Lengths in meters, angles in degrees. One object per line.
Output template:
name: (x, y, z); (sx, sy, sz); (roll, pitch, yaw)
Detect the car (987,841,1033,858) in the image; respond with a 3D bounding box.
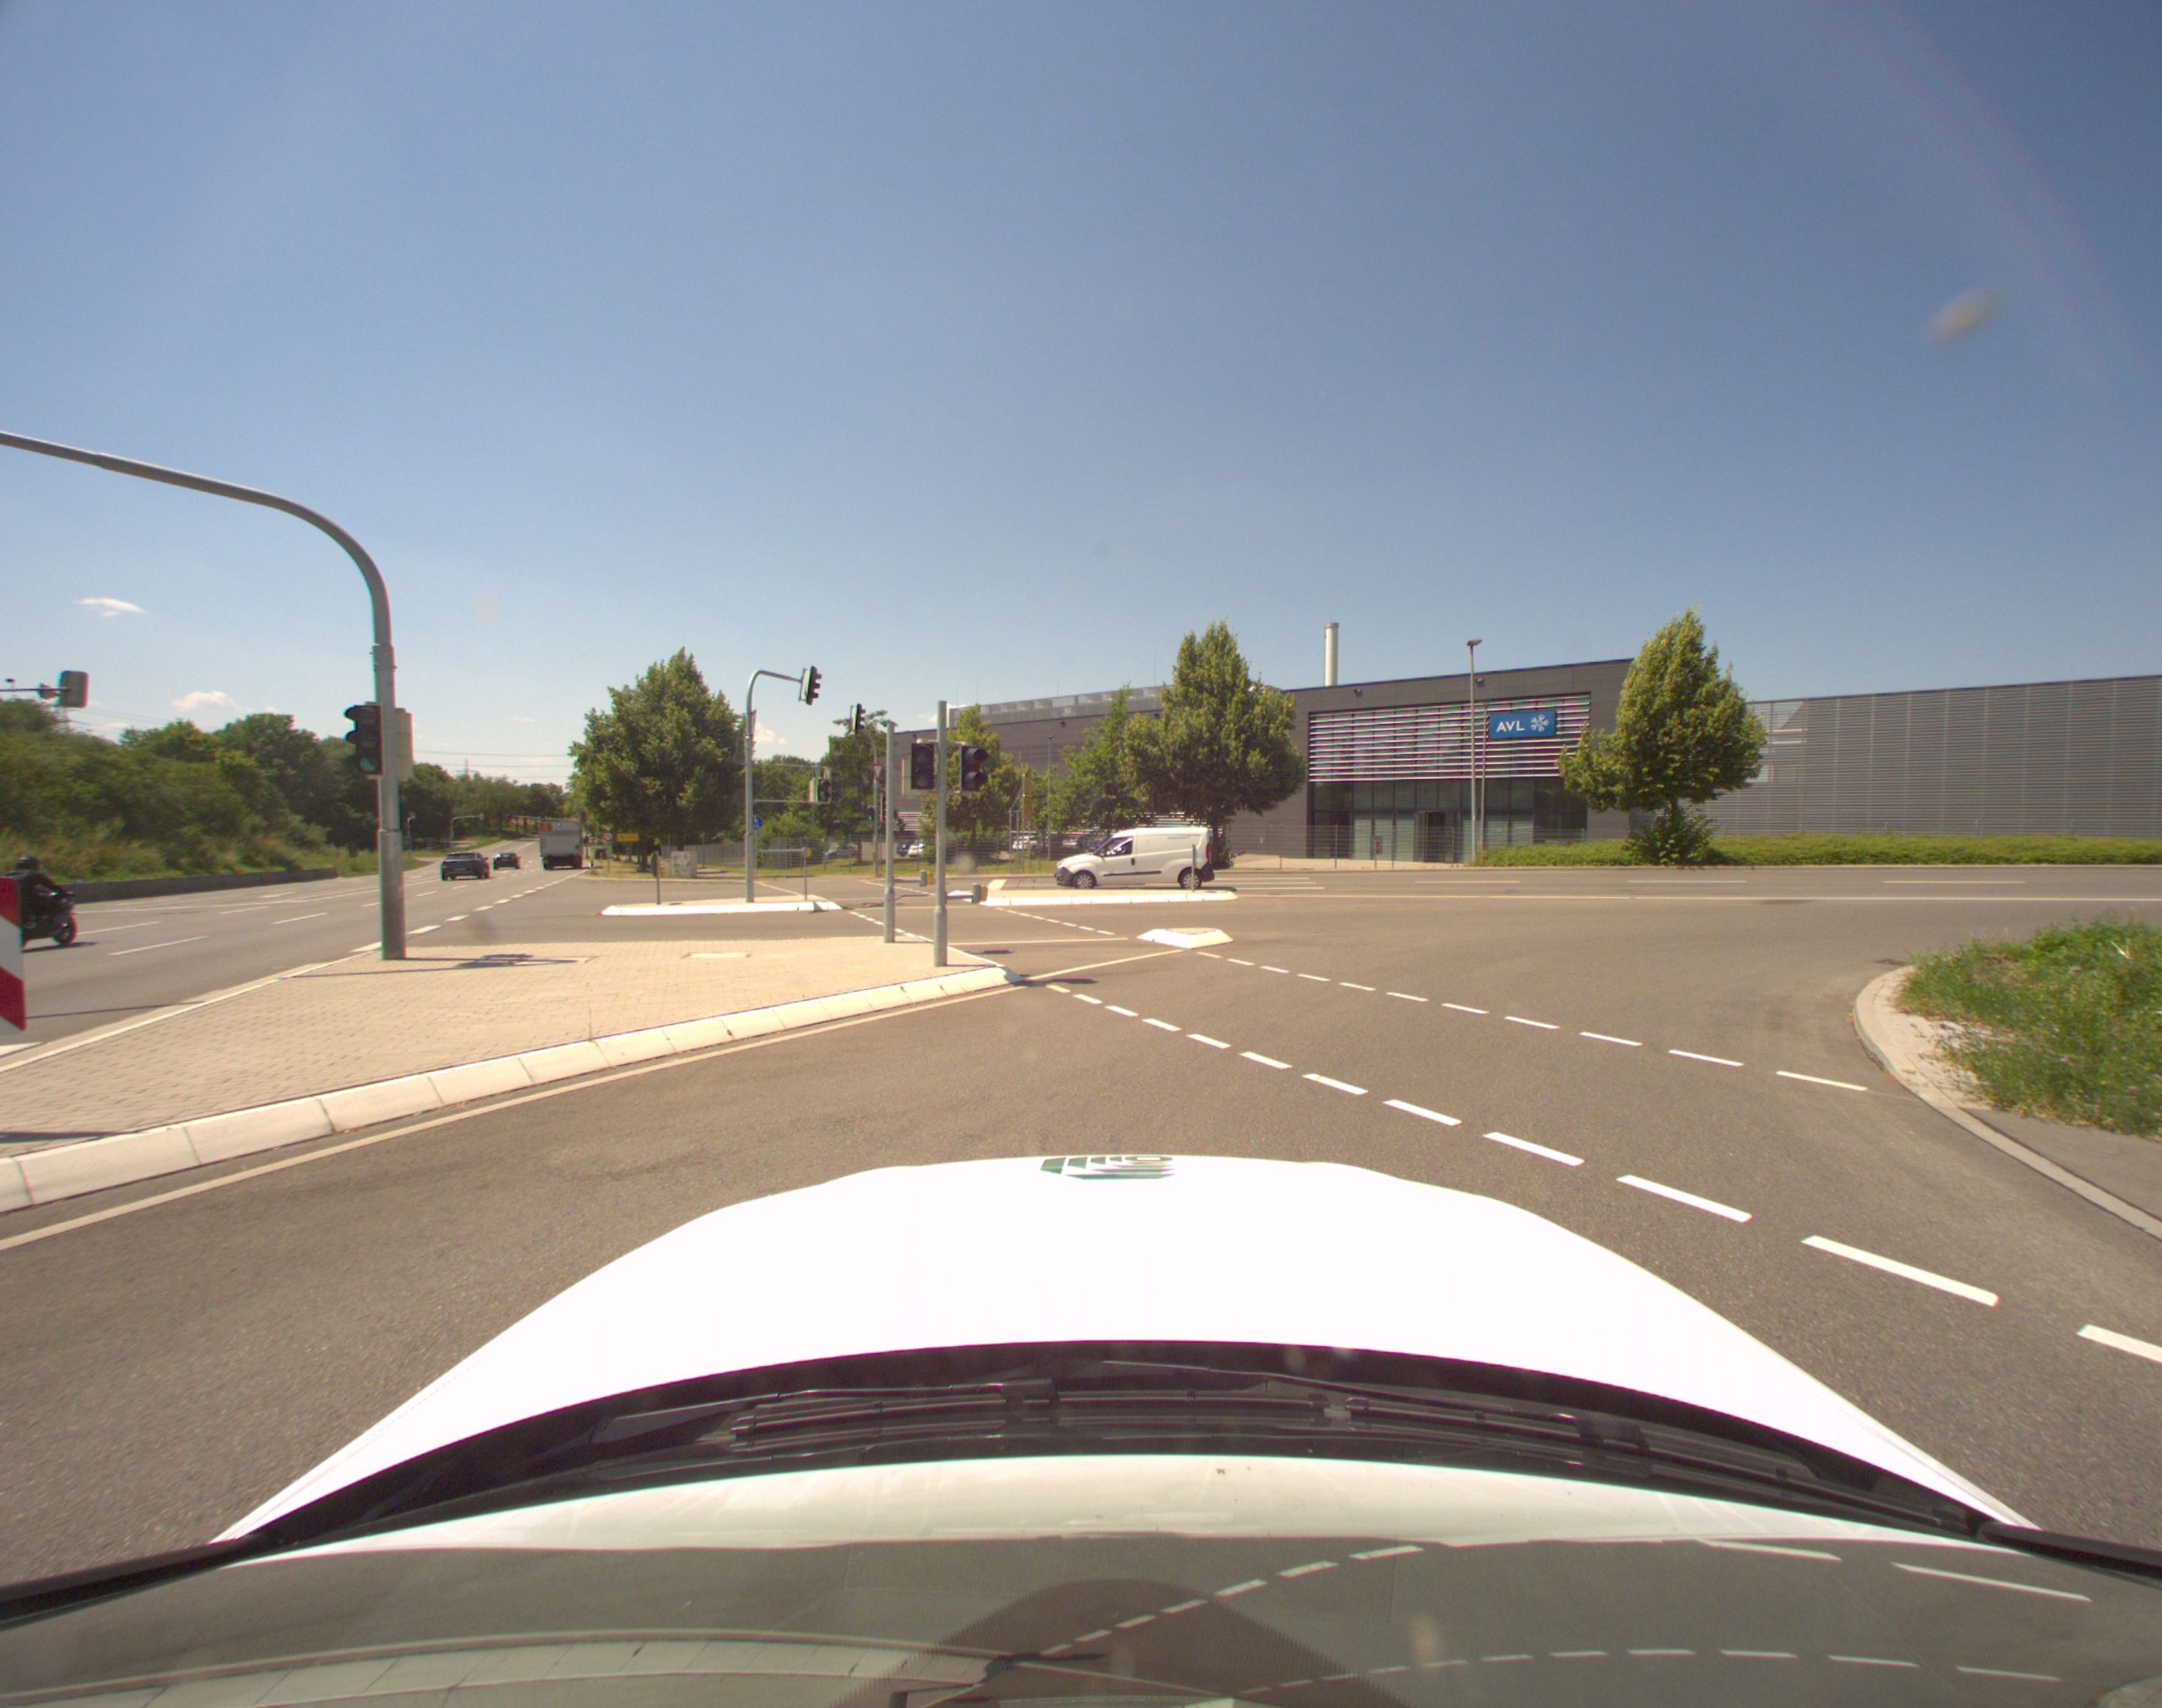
car: (-6.365, -0.412, 73.111); (1.974, 1.486, 4.026); (-2, 0, 33)

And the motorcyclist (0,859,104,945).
motorcyclist: (-18.061, 0.808, 14.143); (0.875, 1.412, 1.168); (-2, 0, -18)

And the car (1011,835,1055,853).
car: (-4.198, -0.911, 71.561); (1.749, 1.460, 4.026); (-2, 0, 33)

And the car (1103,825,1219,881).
car: (2.712, -0.059, 27.955); (3.835, 1.706, 2.003); (0, 5, 4)

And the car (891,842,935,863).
car: (-16.561, -0.153, 80.573); (1.974, 2.013, 4.026); (-2, 0, 33)

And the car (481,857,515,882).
car: (-49.056, 1.291, 68.592); (2.007, 2.013, 3.959); (-2, 0, -32)

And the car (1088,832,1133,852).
car: (2.442, -0.992, 66.546); (1.796, 1.528, 4.026); (-2, 0, 33)

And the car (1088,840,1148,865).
car: (2.364, -0.124, 51.356); (1.974, 1.486, 4.026); (-2, 0, 33)

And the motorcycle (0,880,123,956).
motorcycle: (-18.032, 1.075, 14.071); (0.863, 1.141, 2.157); (-2, 1, -18)

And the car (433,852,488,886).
car: (-34.501, 0.825, 45.365); (2.007, 1.750, 3.959); (-2, 0, -32)

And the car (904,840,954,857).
car: (-11.362, -0.445, 60.952); (1.594, 1.165, 3.658); (-2, 0, 33)

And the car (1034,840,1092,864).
car: (-1.168, -0.155, 54.789); (1.974, 1.486, 4.026); (-2, 0, 33)

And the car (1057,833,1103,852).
car: (-0.061, -0.966, 68.398); (1.895, 1.517, 4.026); (-2, 0, 33)

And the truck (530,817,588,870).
truck: (-40.096, -0.754, 62.731); (3.286, 3.840, 6.144); (-2, 0, -29)

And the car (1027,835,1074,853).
car: (-2.564, -0.849, 69.721); (1.974, 1.486, 4.026); (-2, 0, 33)

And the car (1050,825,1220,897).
car: (1.591, 0.160, 24.308); (4.834, 1.941, 2.003); (0, 5, 3)
